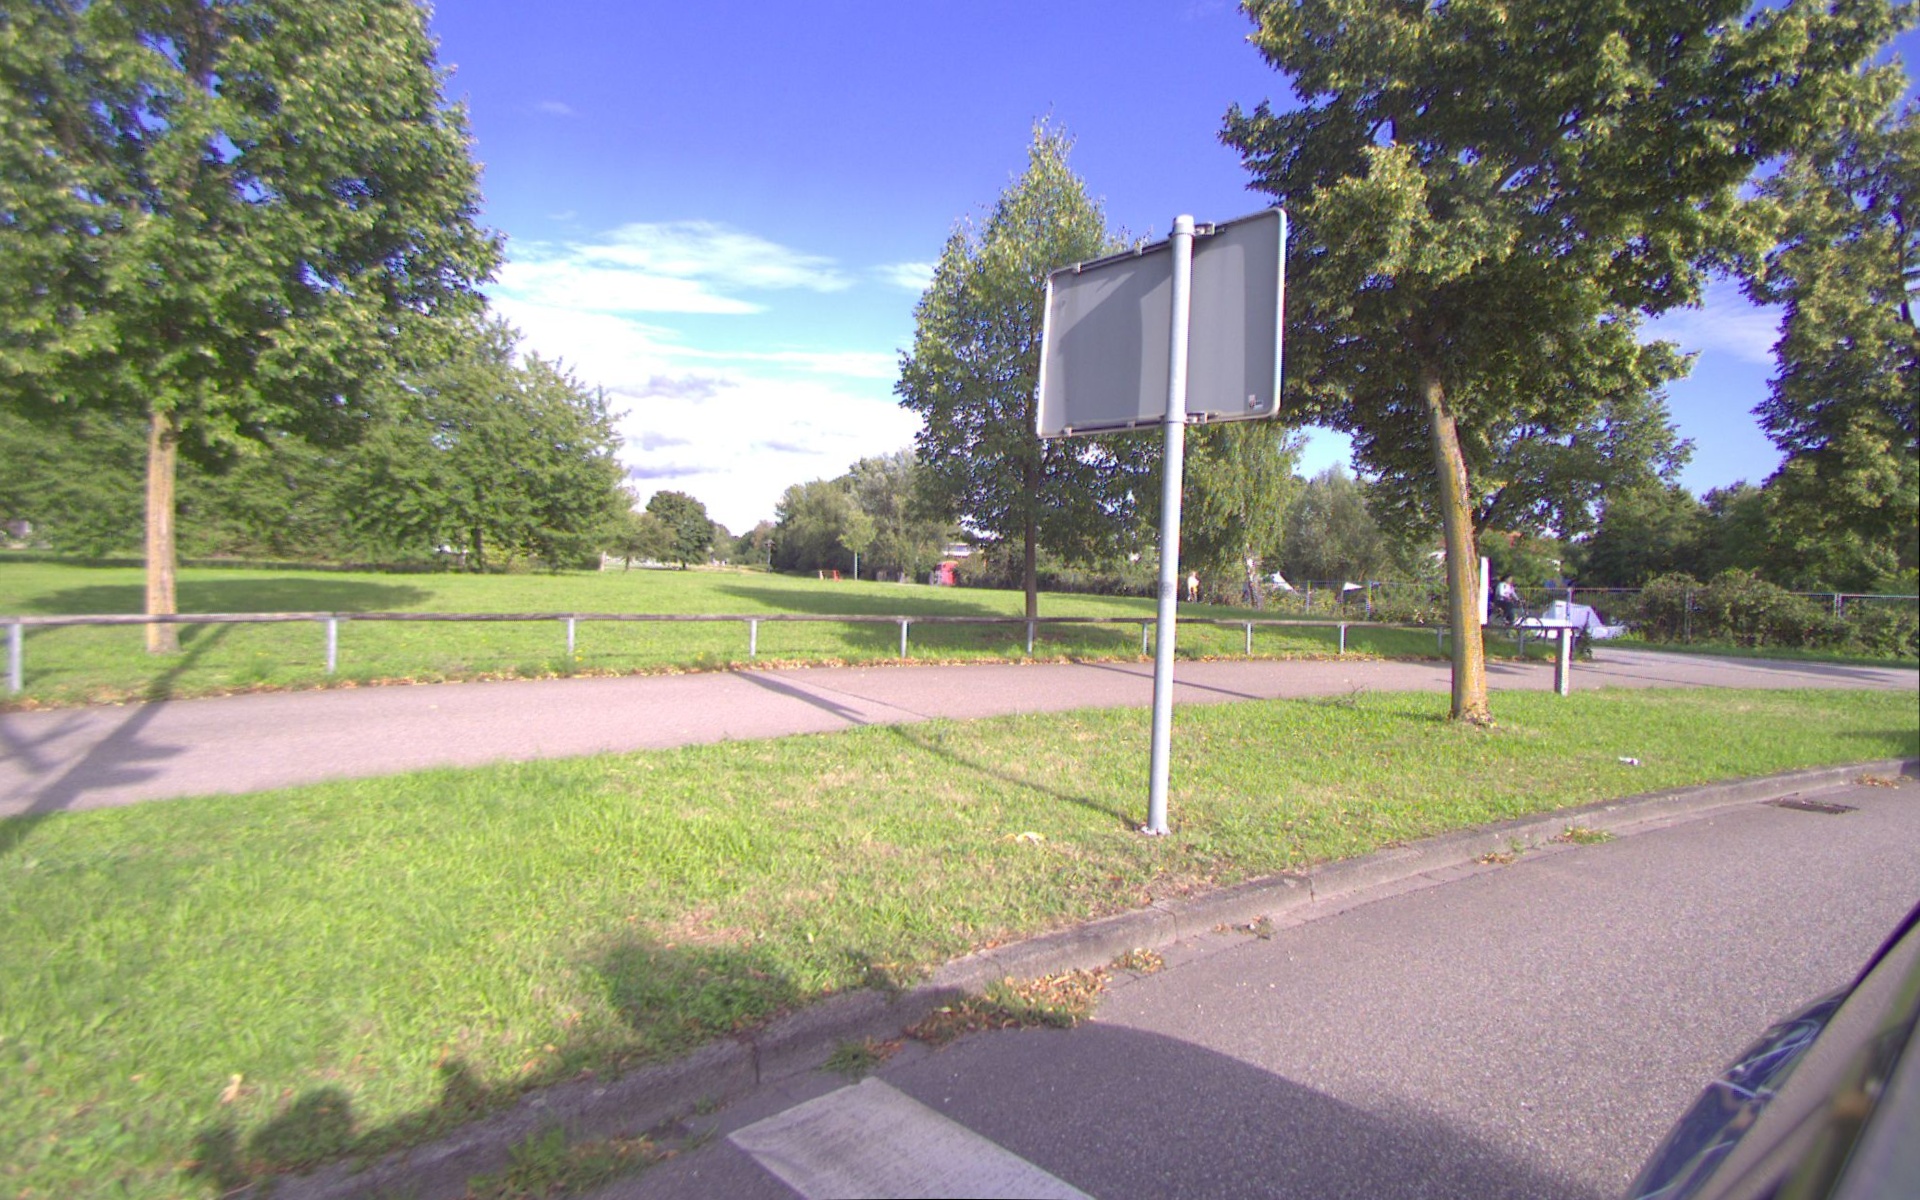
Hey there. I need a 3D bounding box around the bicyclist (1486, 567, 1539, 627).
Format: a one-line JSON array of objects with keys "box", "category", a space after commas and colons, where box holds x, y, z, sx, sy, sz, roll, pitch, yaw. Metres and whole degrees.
[{"box": [15.031, -0.095, 27.560, 0.787, 1.566, 0.907, 1, 2, -19], "category": "bicyclist"}]

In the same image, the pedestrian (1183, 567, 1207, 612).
[{"box": [9.349, -0.434, 40.305, 0.654, 1.754, 0.598, 1, 2, -31], "category": "pedestrian"}]

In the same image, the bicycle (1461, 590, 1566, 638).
[{"box": [15.018, 0.364, 27.563, 0.787, 1.140, 2.608, 1, 2, -20], "category": "bicycle"}]
